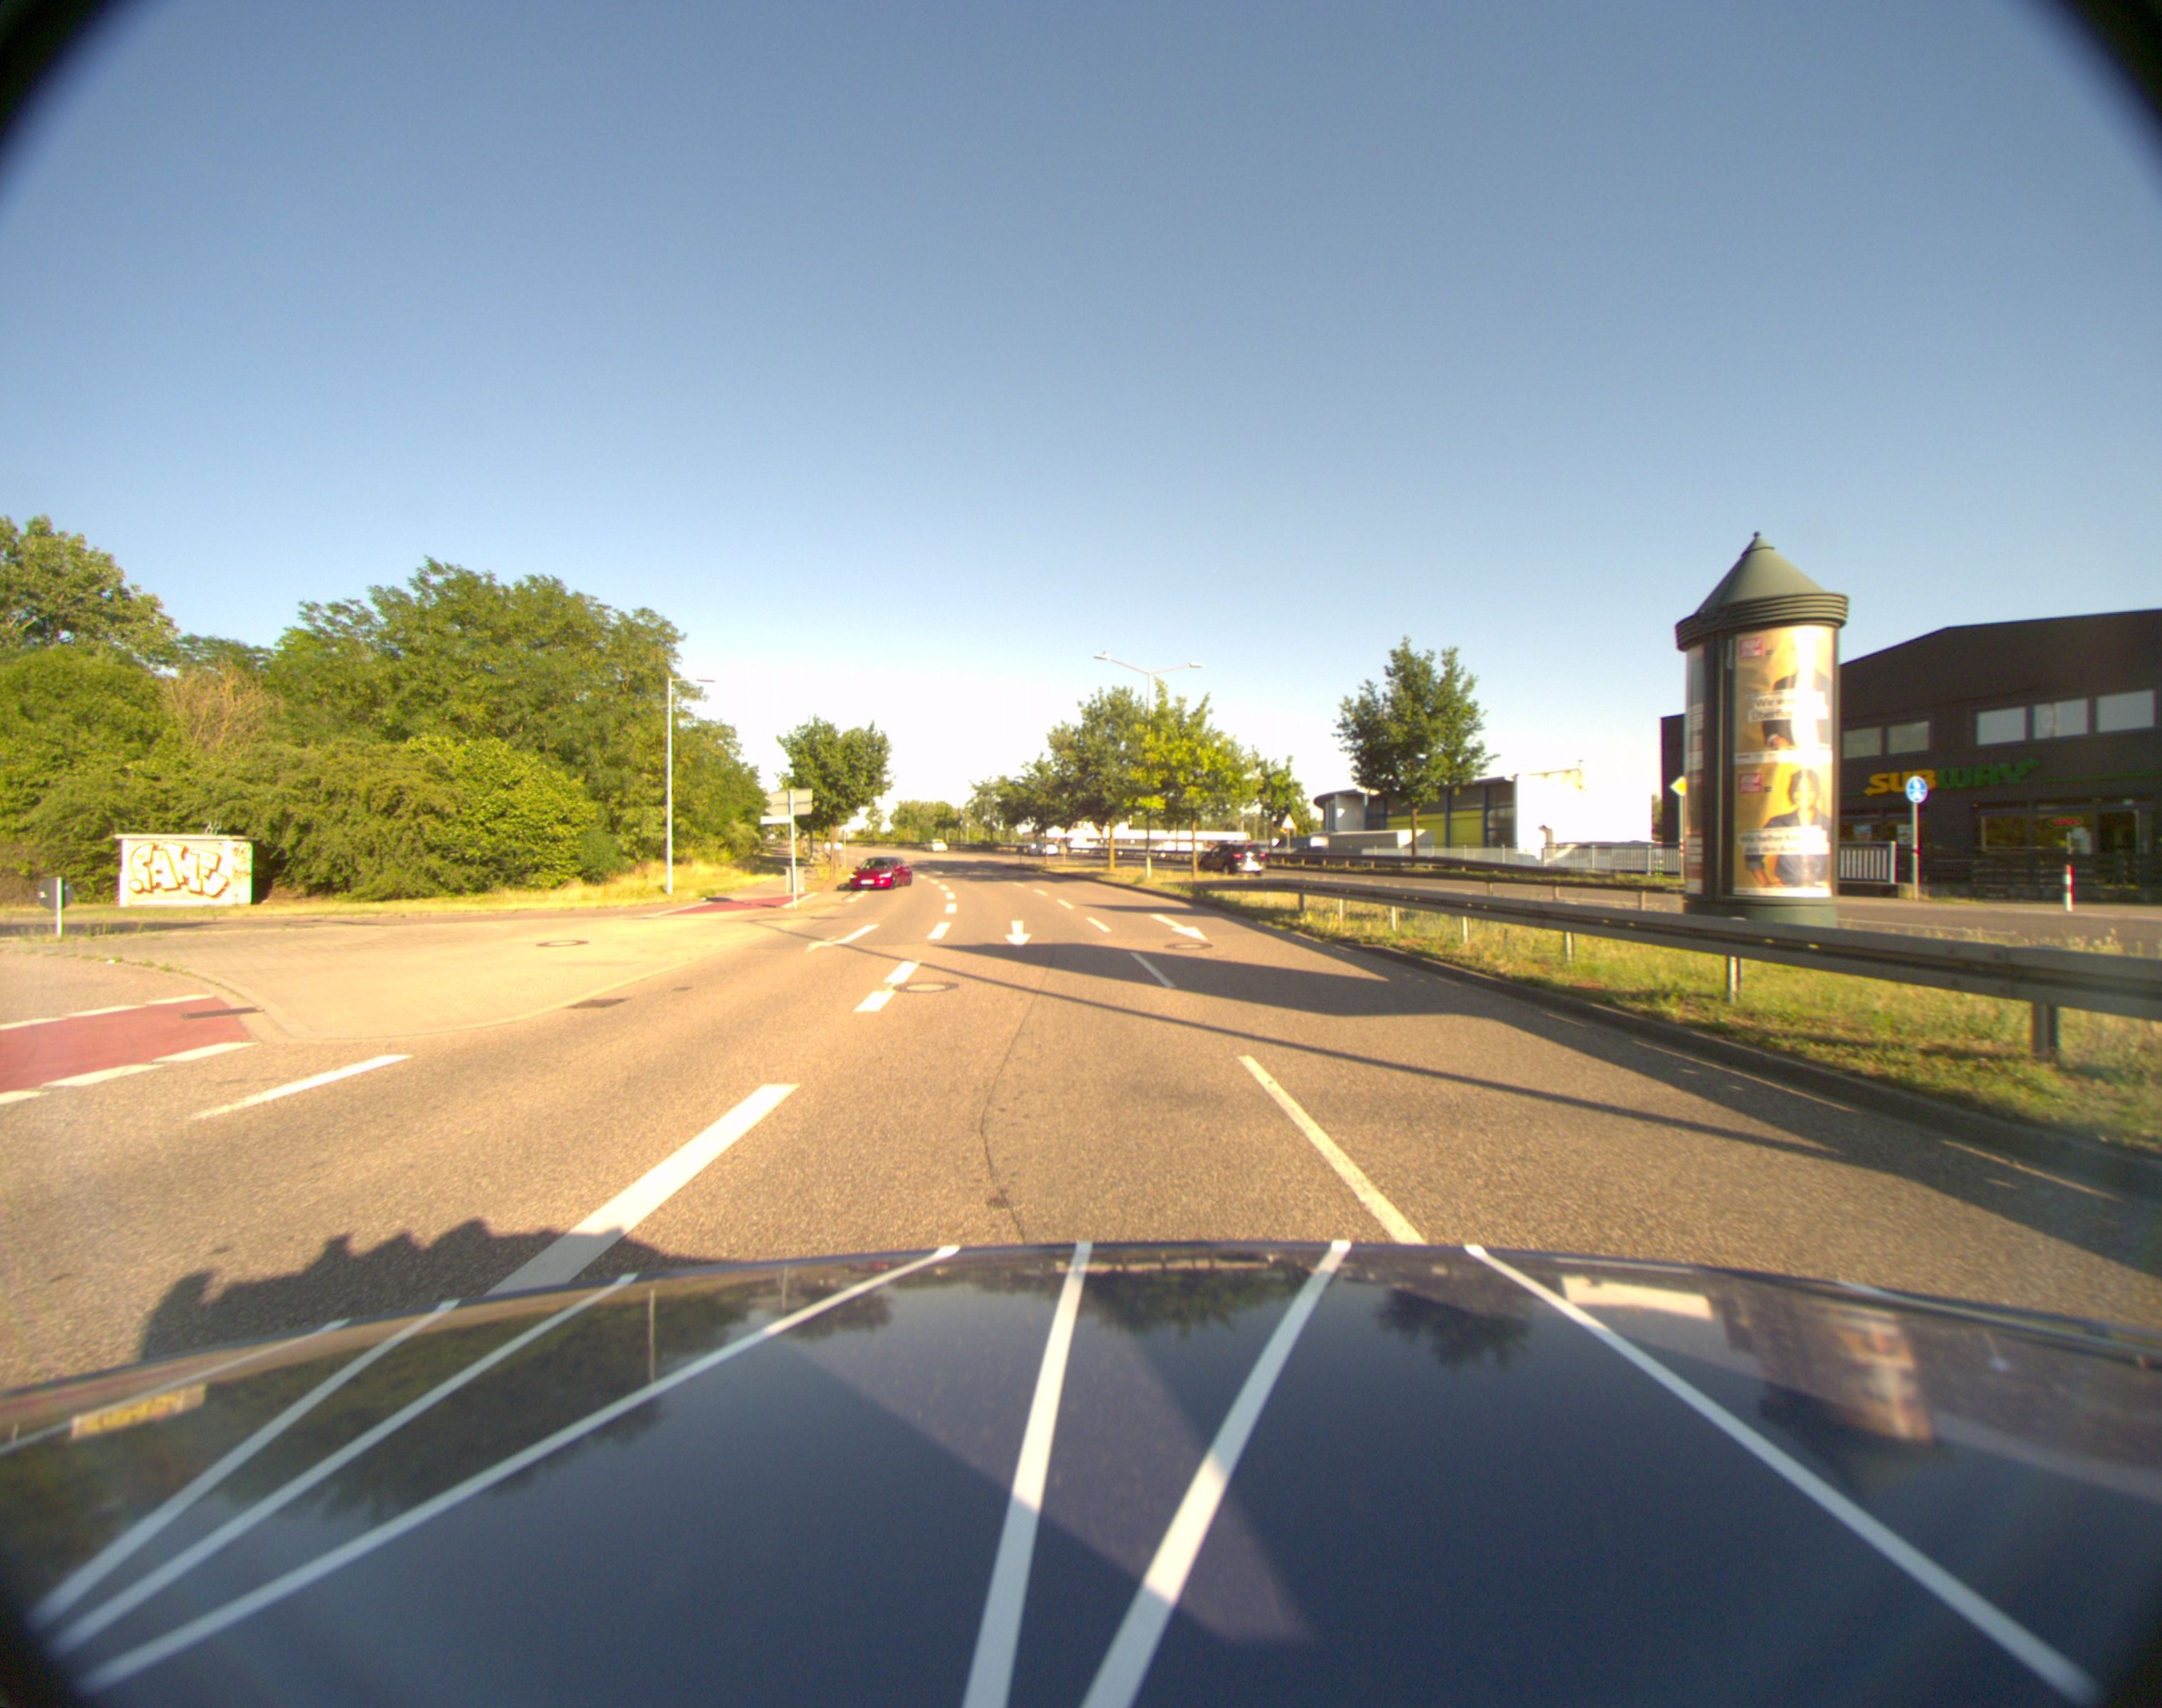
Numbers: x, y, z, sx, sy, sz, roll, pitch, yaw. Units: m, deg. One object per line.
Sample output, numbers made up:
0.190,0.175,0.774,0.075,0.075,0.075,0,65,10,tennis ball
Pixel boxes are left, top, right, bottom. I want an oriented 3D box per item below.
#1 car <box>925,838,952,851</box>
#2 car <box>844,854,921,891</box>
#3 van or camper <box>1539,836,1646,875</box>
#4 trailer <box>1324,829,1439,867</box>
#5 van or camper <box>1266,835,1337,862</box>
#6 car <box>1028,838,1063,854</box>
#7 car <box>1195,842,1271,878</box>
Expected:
-16.840,-1.132,89.716,1.749,1.454,3.756,-3,2,-33,car
-8.688,0.760,33.611,1.781,1.433,4.361,-3,0,6,car
26.966,0.054,40.227,4.220,1.915,2.002,1,3,17,van or camper
16.653,-0.395,42.643,2.429,1.959,6.594,-1,2,-17,trailer
14.272,-0.411,49.561,2.001,1.676,4.951,-1,2,-18,van or camper
-3.391,-0.753,71.979,1.680,1.454,4.095,-1,2,-27,car
7.160,0.226,36.236,1.853,1.594,4.388,-1,1,-14,car
